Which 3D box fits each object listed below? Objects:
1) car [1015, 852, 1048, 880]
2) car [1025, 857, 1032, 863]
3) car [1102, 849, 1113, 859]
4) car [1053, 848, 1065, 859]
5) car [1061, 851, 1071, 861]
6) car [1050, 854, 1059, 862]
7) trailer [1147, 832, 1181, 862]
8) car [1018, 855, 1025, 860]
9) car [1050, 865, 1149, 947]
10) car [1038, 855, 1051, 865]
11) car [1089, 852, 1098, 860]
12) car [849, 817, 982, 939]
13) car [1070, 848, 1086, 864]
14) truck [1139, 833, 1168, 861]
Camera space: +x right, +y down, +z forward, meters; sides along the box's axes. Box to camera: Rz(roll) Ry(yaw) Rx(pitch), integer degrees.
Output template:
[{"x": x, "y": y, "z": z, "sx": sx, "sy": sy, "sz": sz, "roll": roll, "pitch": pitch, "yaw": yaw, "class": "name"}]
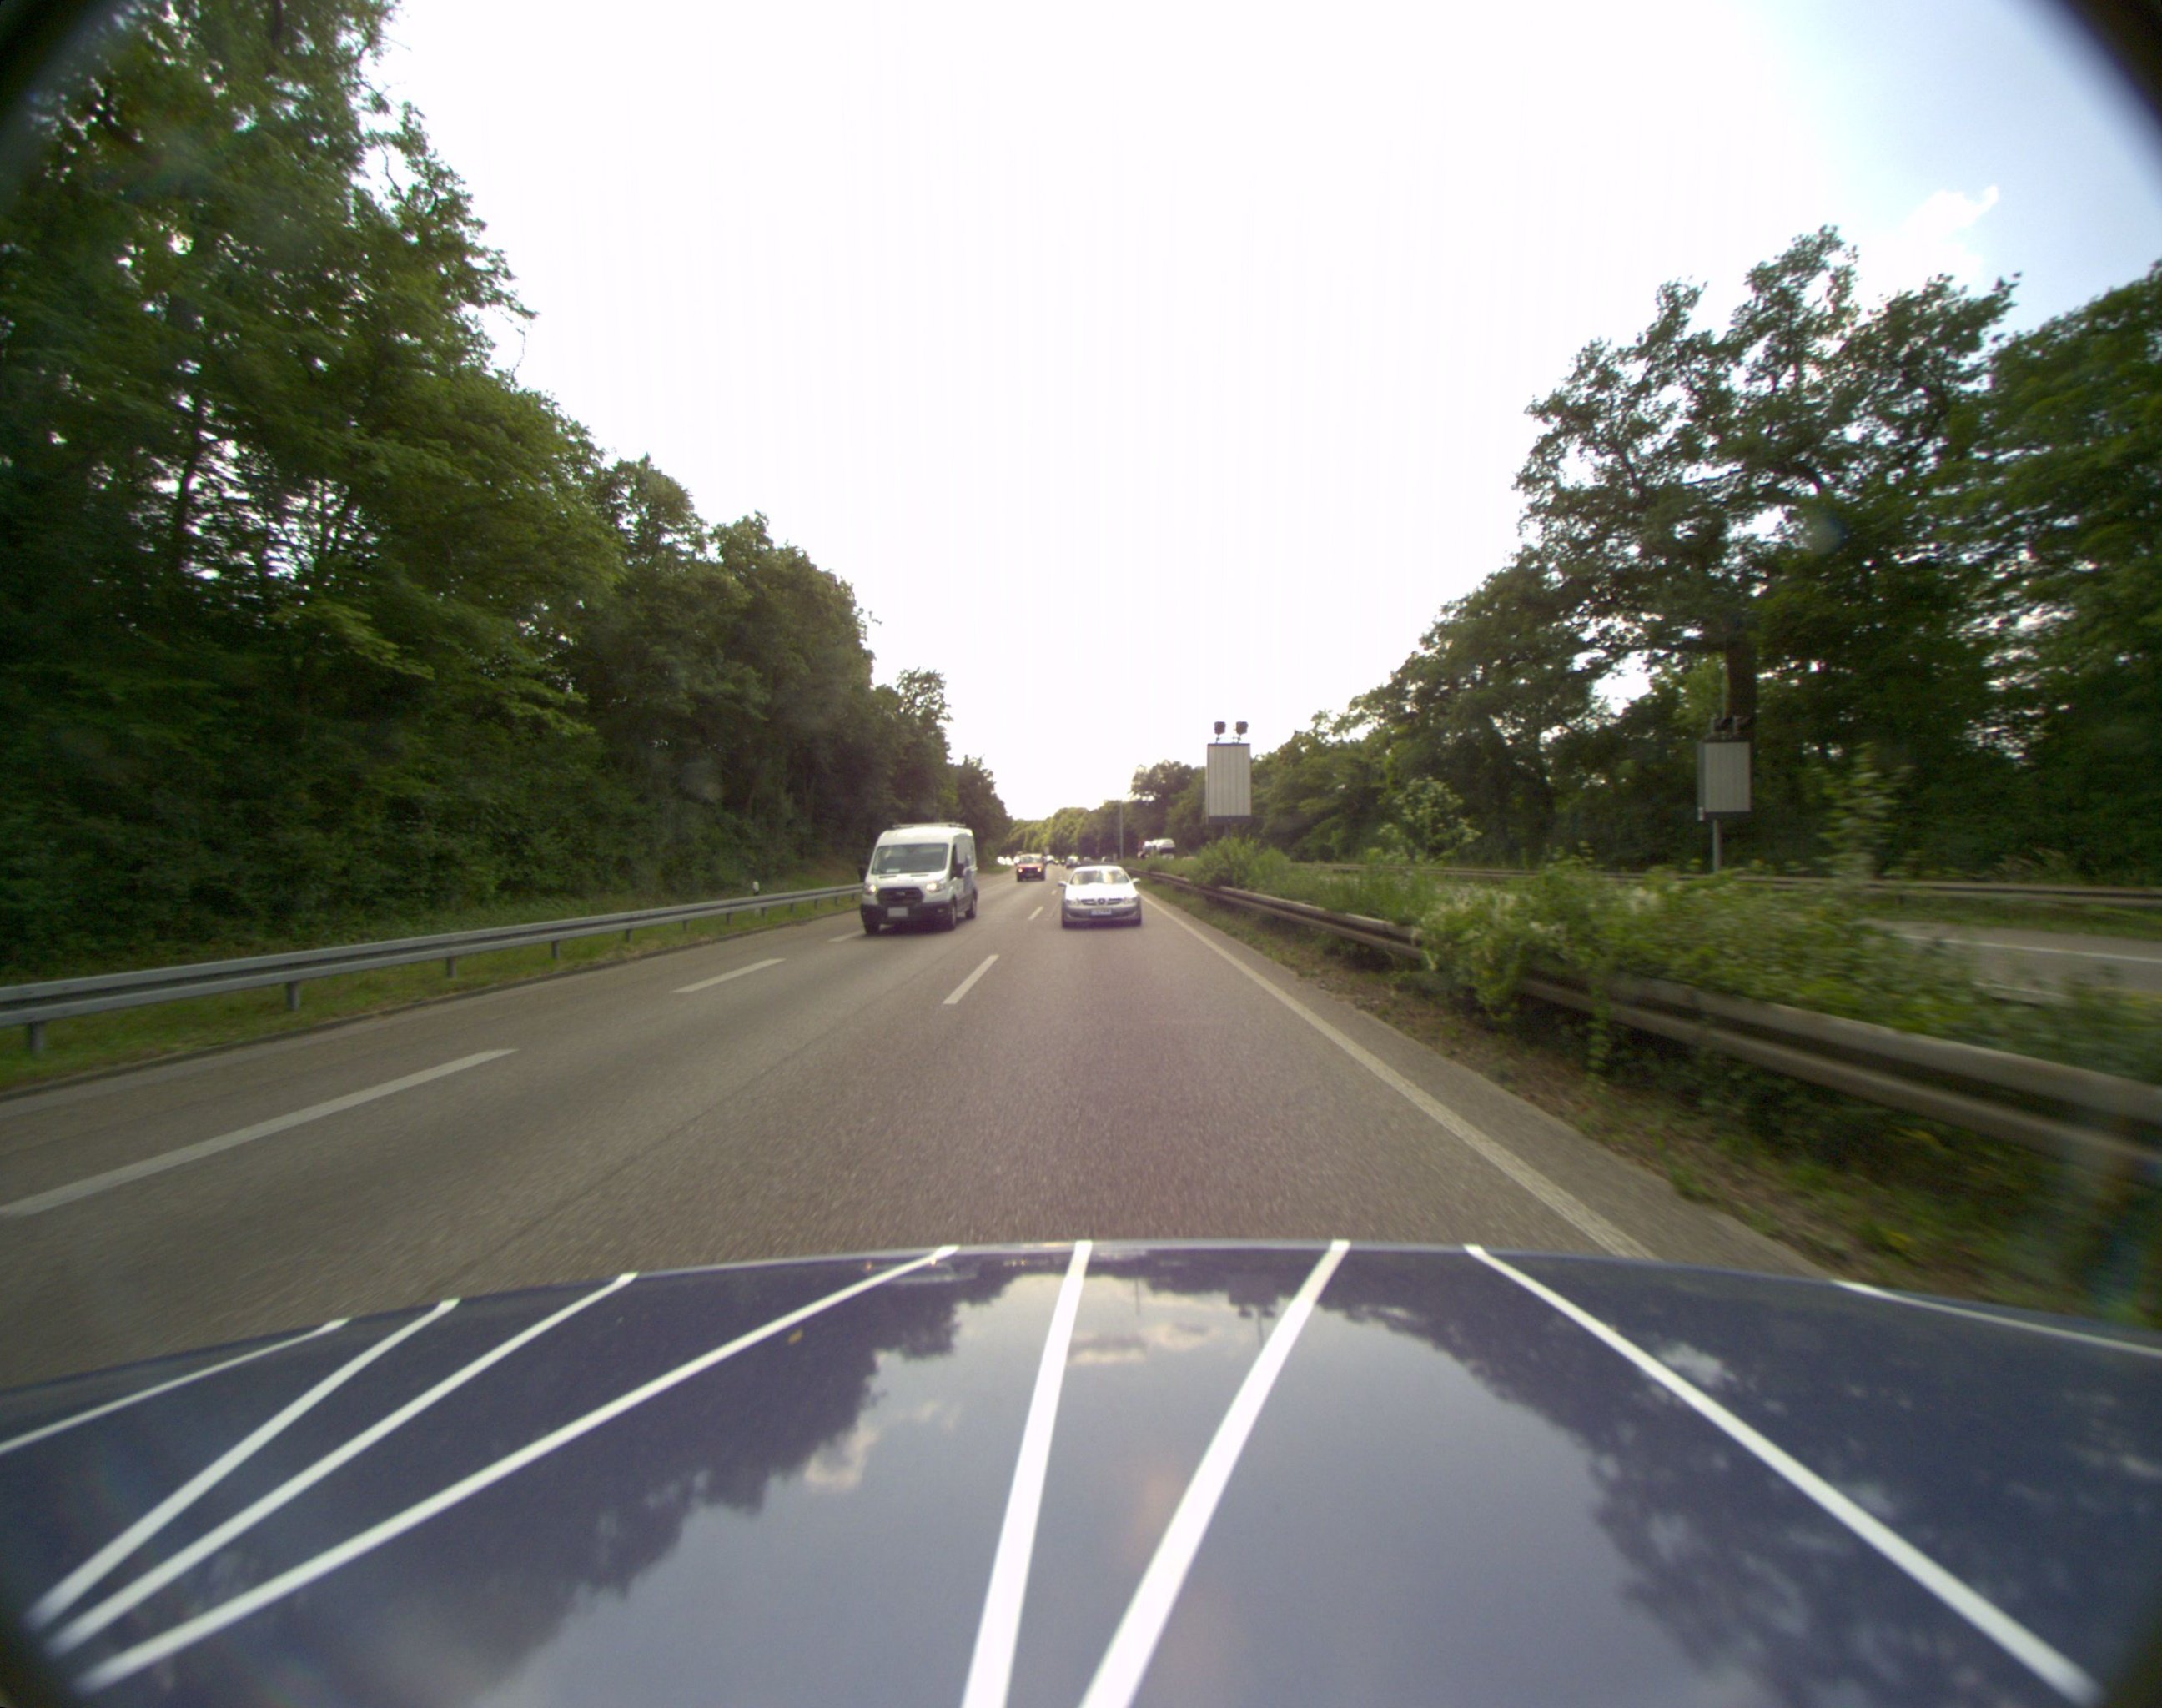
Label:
[{"x": -3.456, "y": 0.826, "z": 53.486, "sx": 1.908, "sy": 1.795, "sz": 4.394, "roll": -3, "pitch": 0, "yaw": 0, "class": "car"}, {"x": -12.881, "y": 1.429, "z": 185.991, "sx": 1.786, "sy": 1.513, "sz": 3.998, "roll": -1, "pitch": 0, "yaw": -3, "class": "car"}, {"x": 4.619, "y": 0.009, "z": 132.787, "sx": 1.678, "sy": 1.542, "sz": 4.262, "roll": -1, "pitch": 0, "yaw": -2, "class": "car"}, {"x": -4.022, "y": -0.119, "z": 140.448, "sx": 1.999, "sy": 2.002, "sz": 3.998, "roll": -1, "pitch": 0, "yaw": -4, "class": "car"}, {"x": -2.527, "y": 0.350, "z": 125.333, "sx": 1.473, "sy": 1.560, "sz": 3.293, "roll": -1, "pitch": 0, "yaw": -4, "class": "car"}, {"x": -5.537, "y": 0.853, "z": 159.624, "sx": 1.700, "sy": 1.579, "sz": 3.998, "roll": -1, "pitch": 0, "yaw": -4, "class": "car"}, {"x": 10.758, "y": -0.918, "z": 100.000, "sx": 2.946, "sy": 3.811, "sz": 10.307, "roll": -1, "pitch": 0, "yaw": -2, "class": "trailer"}, {"x": -17.606, "y": 0.949, "z": 224.902, "sx": 1.786, "sy": 1.513, "sz": 3.999, "roll": -1, "pitch": 0, "yaw": -3, "class": "car"}, {"x": 0.399, "y": 0.981, "z": 16.461, "sx": 1.751, "sy": 1.295, "sz": 5.223, "roll": -3, "pitch": 0, "yaw": 1, "class": "car"}, {"x": -5.685, "y": 0.883, "z": 117.533, "sx": 1.889, "sy": 1.516, "sz": 3.999, "roll": -1, "pitch": 0, "yaw": -2, "class": "car"}, {"x": 2.633, "y": 0.412, "z": 161.637, "sx": 1.710, "sy": 1.559, "sz": 4.030, "roll": -1, "pitch": 0, "yaw": -2, "class": "car"}, {"x": -3.863, "y": 0.501, "z": 18.780, "sx": 2.104, "sy": 2.493, "sz": 5.278, "roll": -3, "pitch": 0, "yaw": -1, "class": "car"}, {"x": -0.395, "y": 0.305, "z": 98.707, "sx": 1.999, "sy": 2.002, "sz": 3.999, "roll": -1, "pitch": 0, "yaw": -2, "class": "car"}, {"x": 10.428, "y": -0.995, "z": 110.290, "sx": 2.963, "sy": 3.833, "sz": 10.321, "roll": -1, "pitch": 0, "yaw": -2, "class": "truck"}]
